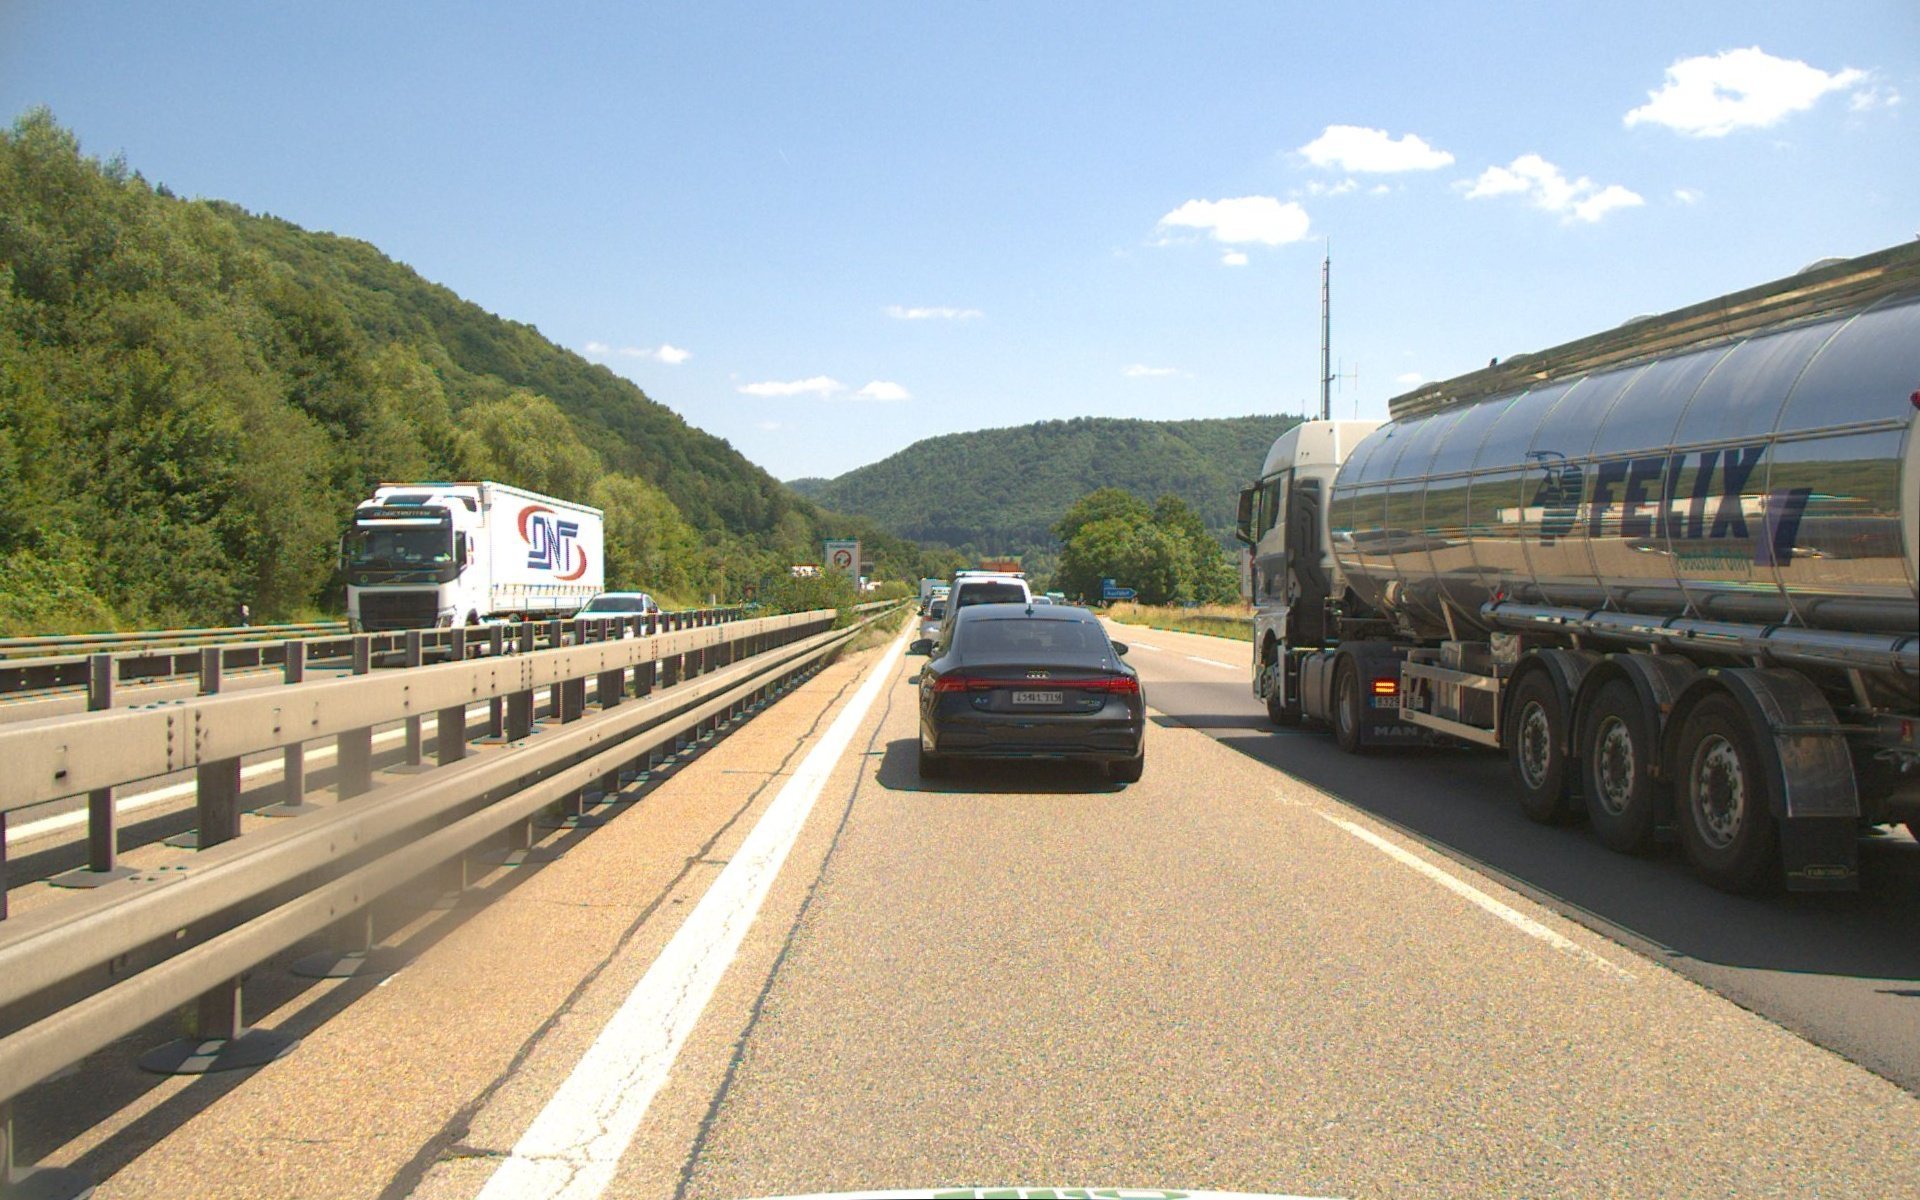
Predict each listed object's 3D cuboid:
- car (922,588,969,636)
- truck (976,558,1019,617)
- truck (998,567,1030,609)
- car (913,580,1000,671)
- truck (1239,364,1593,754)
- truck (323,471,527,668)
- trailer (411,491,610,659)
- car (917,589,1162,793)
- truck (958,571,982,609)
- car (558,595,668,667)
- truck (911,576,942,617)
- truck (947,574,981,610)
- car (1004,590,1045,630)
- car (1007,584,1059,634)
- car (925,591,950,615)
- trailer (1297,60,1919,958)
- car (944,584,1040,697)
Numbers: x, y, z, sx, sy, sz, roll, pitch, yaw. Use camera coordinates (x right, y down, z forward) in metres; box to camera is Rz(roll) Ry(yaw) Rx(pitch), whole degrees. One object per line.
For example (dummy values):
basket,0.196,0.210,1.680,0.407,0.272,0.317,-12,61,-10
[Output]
car,-0.641,0.507,71.486,1.953,2.049,3.999,0,0,-2
truck,2.681,-0.888,123.400,2.760,4.073,14.953,1,0,0
truck,5.453,-1.185,169.425,2.760,4.073,14.953,1,0,0
car,-0.113,0.580,39.859,1.953,2.049,3.999,1,0,-1
truck,4.975,-0.401,19.051,2.461,3.824,5.244,1,0,-2
truck,-12.237,-0.648,38.427,2.850,4.173,5.846,1,0,-1
trailer,-12.449,-0.619,47.055,2.798,4.147,11.259,1,0,-2
car,0.551,0.693,14.585,1.812,1.514,4.081,1,0,-2
truck,0.918,-0.907,157.386,1.953,3.507,11.808,1,0,-1
car,-7.873,0.674,37.872,1.711,1.545,3.999,1,0,-1
truck,-2.929,-0.305,147.536,2.575,3.501,11.418,0,0,-1
truck,0.590,-0.988,212.213,3.714,4.491,14.961,0,0,3
car,3.303,0.507,85.550,1.953,2.038,4.000,0,0,0
car,3.020,0.362,69.017,1.953,2.049,3.999,0,0,-1
car,-1.554,0.232,115.842,1.677,1.647,4.000,0,0,0
trailer,5.154,-0.374,12.386,2.487,3.801,11.887,1,0,-2
car,0.511,0.680,29.592,1.544,1.865,3.999,1,0,-1
